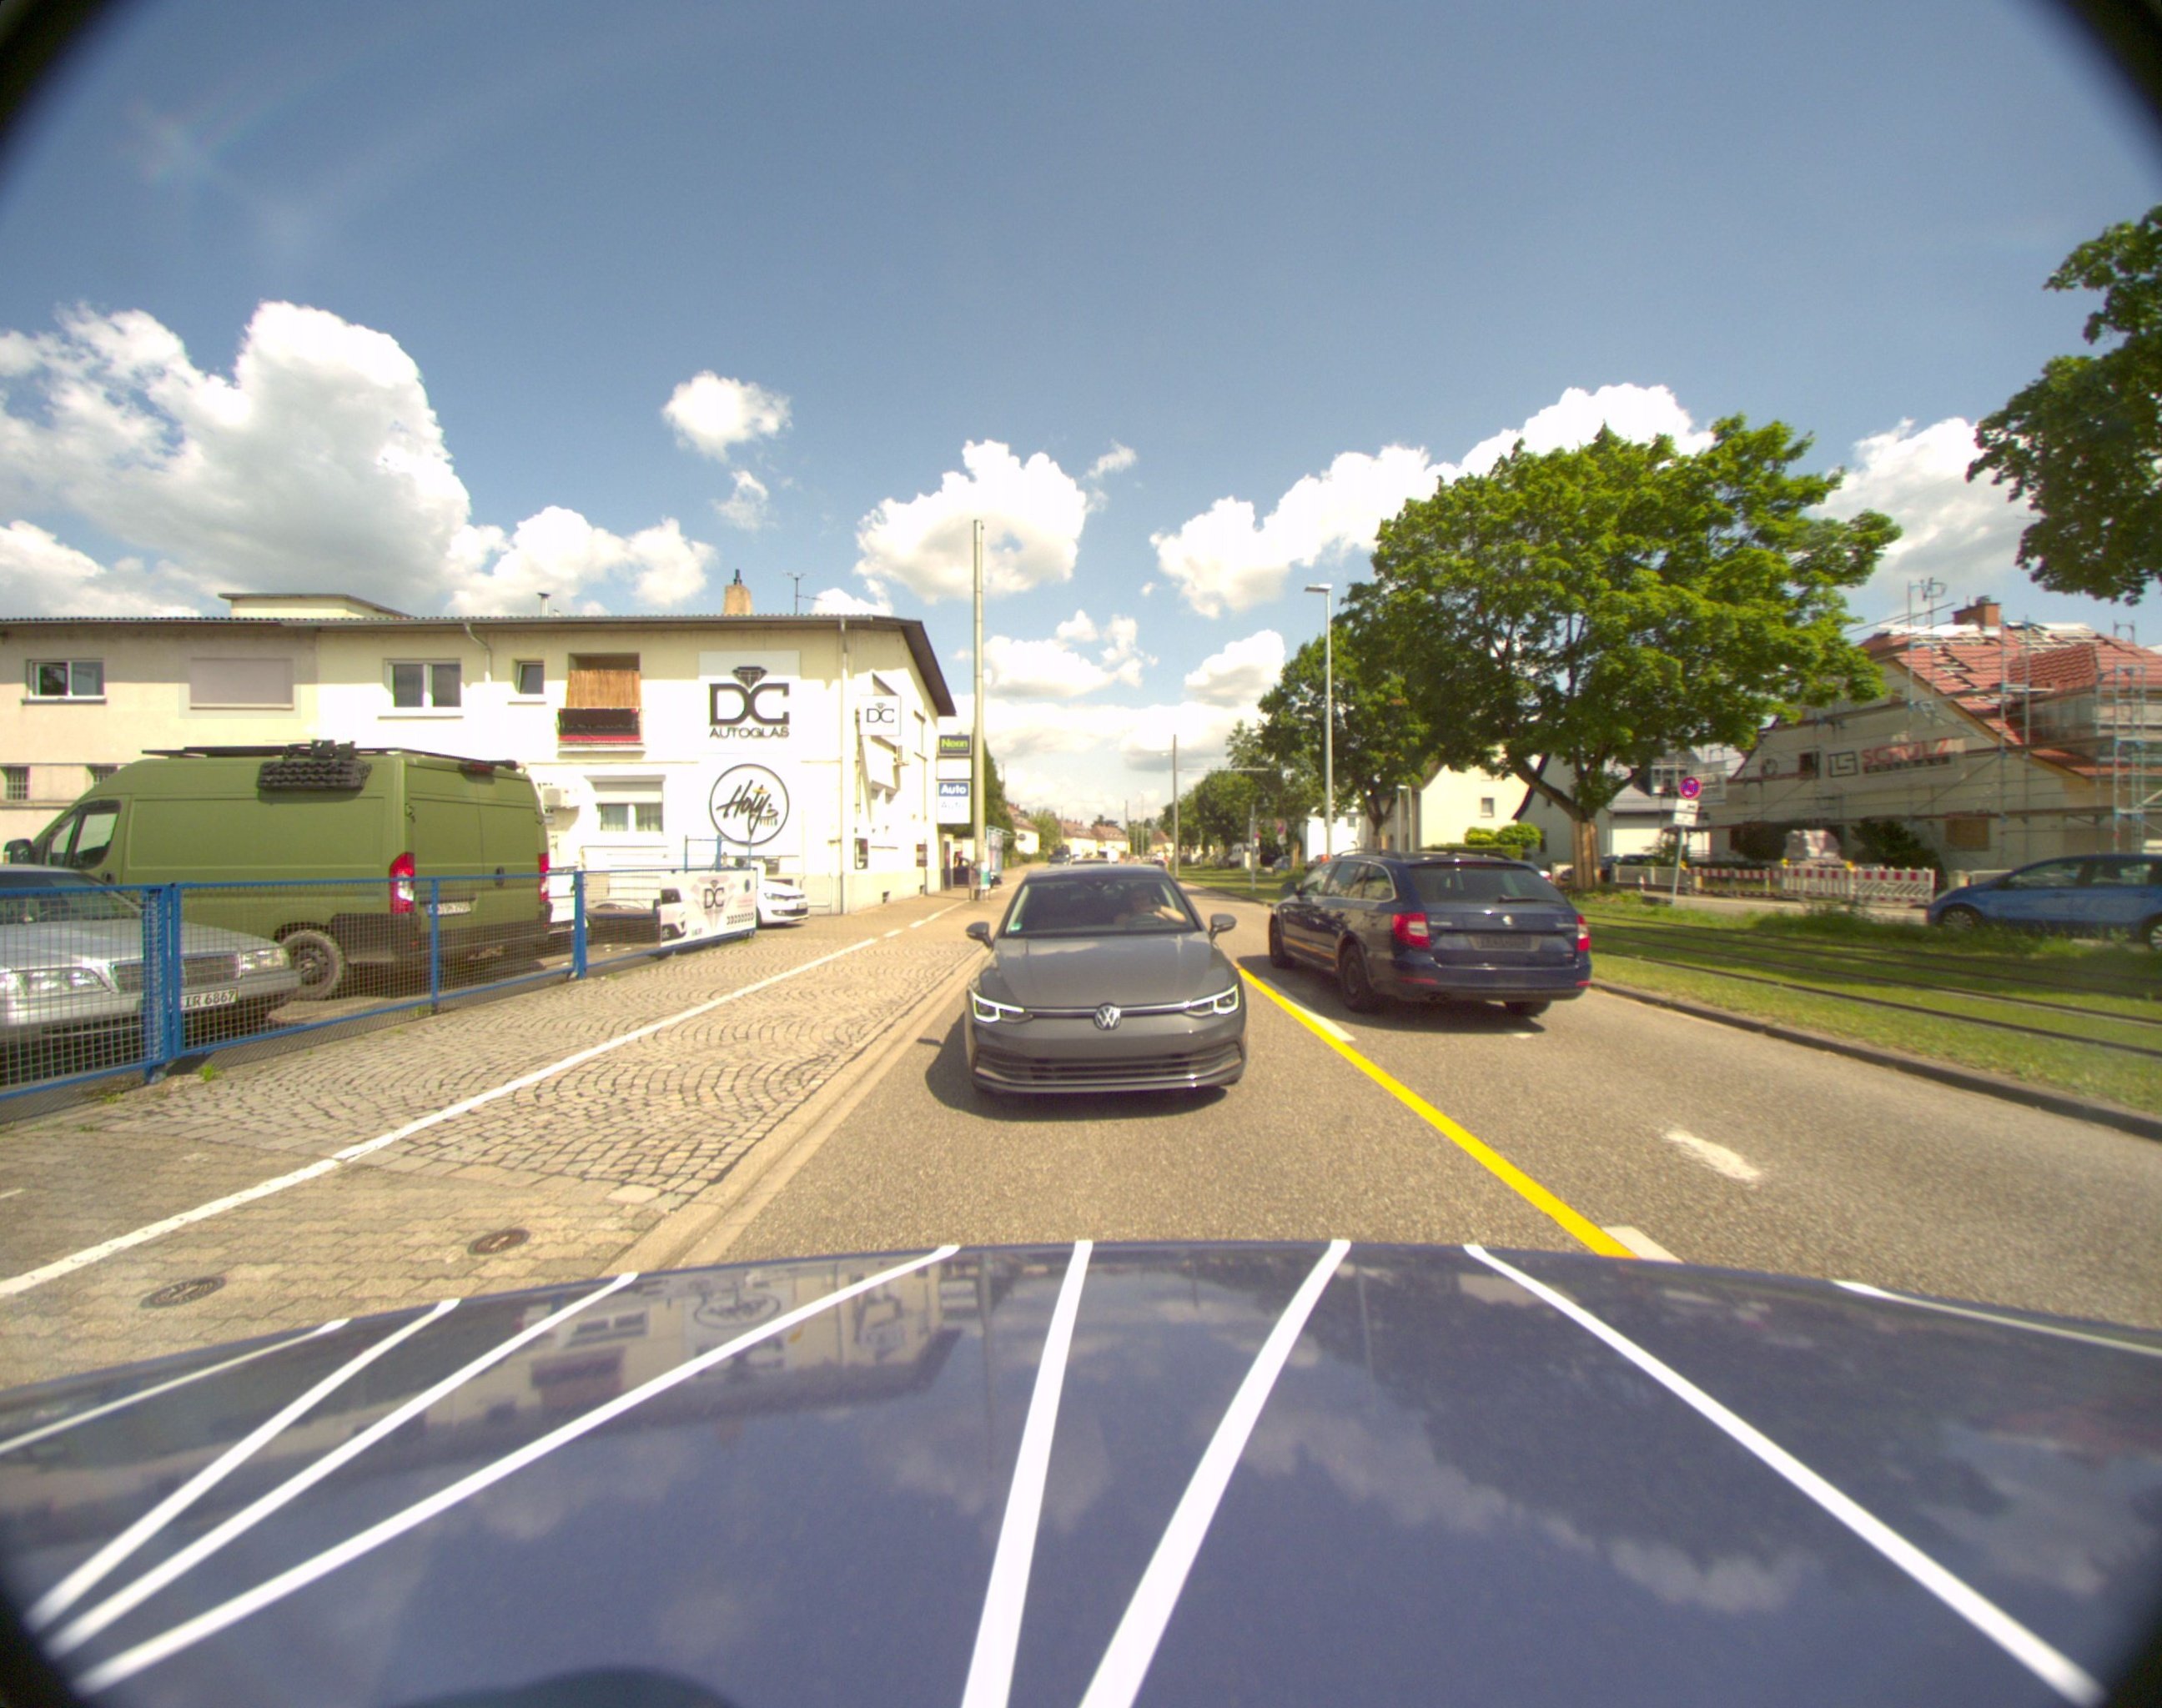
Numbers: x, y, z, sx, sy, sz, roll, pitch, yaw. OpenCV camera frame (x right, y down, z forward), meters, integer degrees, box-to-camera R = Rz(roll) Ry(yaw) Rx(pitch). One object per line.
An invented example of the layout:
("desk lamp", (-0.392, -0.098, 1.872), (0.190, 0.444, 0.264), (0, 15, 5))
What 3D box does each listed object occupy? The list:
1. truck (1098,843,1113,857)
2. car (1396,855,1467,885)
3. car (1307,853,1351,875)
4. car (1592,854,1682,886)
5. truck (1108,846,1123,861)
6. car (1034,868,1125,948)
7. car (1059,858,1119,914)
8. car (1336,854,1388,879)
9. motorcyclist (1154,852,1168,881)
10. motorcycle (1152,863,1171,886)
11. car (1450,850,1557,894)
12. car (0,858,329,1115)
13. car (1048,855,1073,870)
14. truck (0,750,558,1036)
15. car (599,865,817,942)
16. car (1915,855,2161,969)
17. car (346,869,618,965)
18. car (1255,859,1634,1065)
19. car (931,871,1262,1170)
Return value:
("truck", (5.429, -0.833, 165.648), (2.631, 2.872, 7.926), (-2, 1, 5))
("car", (16.607, 0.730, 36.195), (1.624, 1.235, 3.786), (-2, 1, 1))
("car", (16.704, 0.627, 51.374), (1.636, 1.294, 3.999), (-2, 1, 1))
("car", (25.784, 0.765, 35.342), (3.238, 1.374, 1.490), (-2, 1, 30))
("truck", (6.877, -0.172, 151.041), (2.665, 2.786, 7.539), (-2, 1, 3))
("car", (0.018, 0.980, 15.127), (1.555, 1.217, 3.729), (-2, 1, 1))
("car", (0.240, 0.882, 22.792), (1.594, 1.418, 3.707), (-2, 1, 1))
("car", (16.697, 0.712, 45.376), (1.636, 1.294, 3.999), (-2, 1, 1))
("motorcyclist", (3.989, 0.604, 38.023), (0.651, 1.434, 0.588), (0, 1, 1))
("motorcycle", (3.996, 1.001, 37.981), (0.707, 1.036, 2.465), (0, 1, 1))
("car", (16.402, 0.639, 29.790), (1.707, 1.504, 4.523), (-2, 1, 0))
("car", (-8.502, 0.882, 5.685), (4.257, 1.499, 1.828), (-2, 1, 8))
("car", (-1.872, 0.772, 71.854), (1.823, 1.412, 4.002), (0, 0, 7))
("truck", (-8.713, 0.384, 8.468), (4.181, 2.645, 2.108), (-2, 1, 2))
("car", (-7.606, 0.994, 15.692), (3.725, 1.350, 1.518), (-2, 1, 4))
("car", (16.246, 0.834, 12.084), (1.672, 1.504, 3.930), (-2, 1, 0))
("car", (-8.852, 0.901, 11.373), (3.033, 1.267, 1.332), (1, 1, 2))
("car", (3.254, 0.831, 7.977), (1.715, 1.478, 4.535), (1, 0, -1))
("car", (0.136, 0.955, 6.293), (1.743, 1.410, 4.381), (-2, 1, 1))
